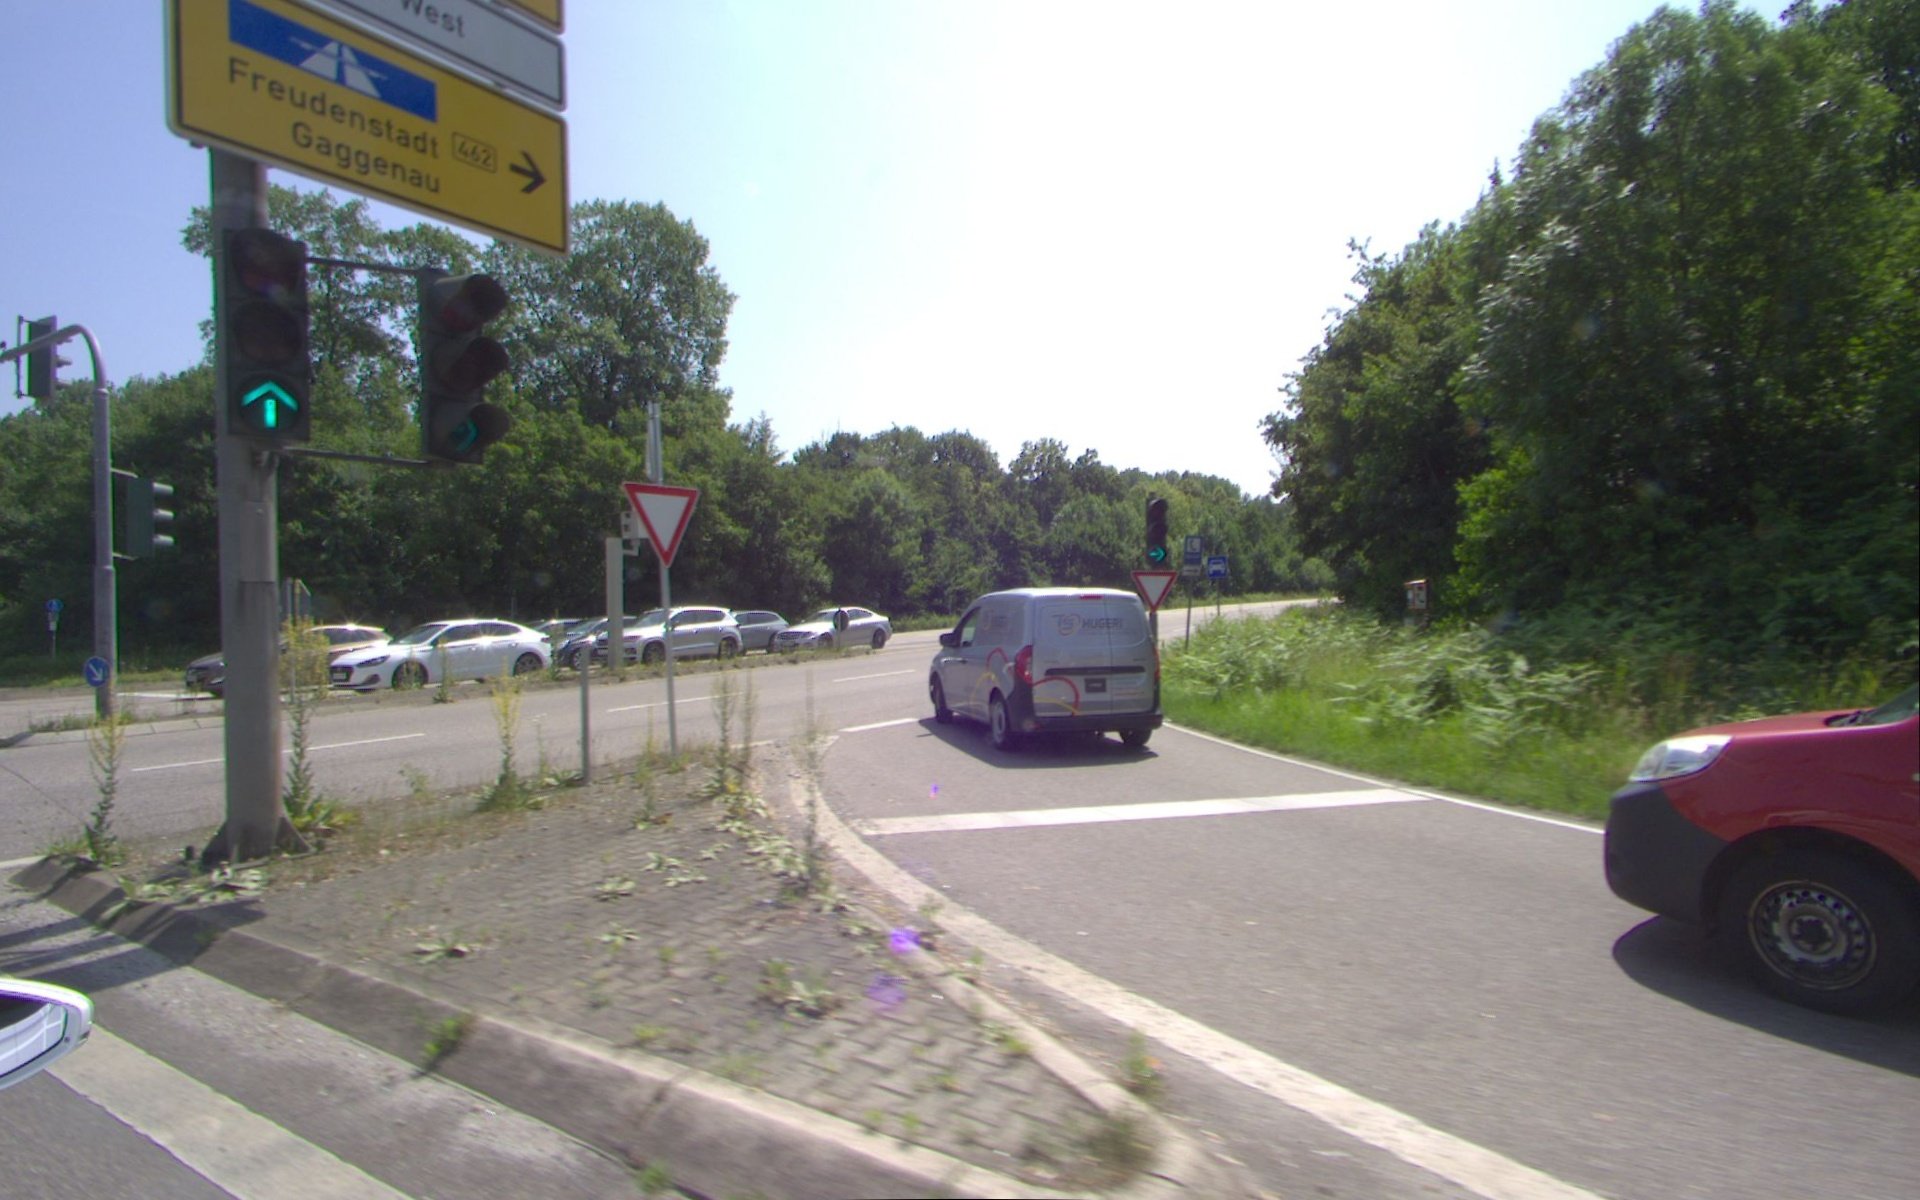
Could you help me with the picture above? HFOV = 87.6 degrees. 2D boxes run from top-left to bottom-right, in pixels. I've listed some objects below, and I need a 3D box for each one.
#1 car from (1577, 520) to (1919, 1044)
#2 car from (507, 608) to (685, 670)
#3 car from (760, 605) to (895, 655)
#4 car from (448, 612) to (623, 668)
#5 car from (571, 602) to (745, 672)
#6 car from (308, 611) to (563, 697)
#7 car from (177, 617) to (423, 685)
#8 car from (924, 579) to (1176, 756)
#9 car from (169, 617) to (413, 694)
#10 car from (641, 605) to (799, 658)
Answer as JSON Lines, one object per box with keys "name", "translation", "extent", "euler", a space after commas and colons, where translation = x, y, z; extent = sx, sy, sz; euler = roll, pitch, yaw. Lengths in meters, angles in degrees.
{"name": "car", "translation": [4.799, 0.639, 3.250], "extent": [1.778, 1.846, 4.458], "euler": [1, -2, -41]}
{"name": "car", "translation": [-10.257, 1.073, 28.569], "extent": [2.092, 1.555, 4.410], "euler": [-2, -1, 32]}
{"name": "car", "translation": [-4.190, 0.933, 32.307], "extent": [1.946, 1.433, 4.320], "euler": [-2, 0, 33]}
{"name": "car", "translation": [-13.032, 1.195, 31.022], "extent": [2.082, 1.518, 4.606], "euler": [-2, -1, 32]}
{"name": "car", "translation": [-7.915, 0.915, 26.616], "extent": [1.972, 1.681, 4.163], "euler": [-1, 0, 32]}
{"name": "car", "translation": [-10.960, 1.054, 21.248], "extent": [1.971, 1.555, 4.412], "euler": [-1, 0, 31]}
{"name": "car", "translation": [-16.789, 1.251, 25.754], "extent": [1.992, 1.518, 4.921], "euler": [-2, -1, 33]}
{"name": "car", "translation": [0.906, 0.736, 12.434], "extent": [1.731, 1.796, 4.106], "euler": [1, -1, -16]}
{"name": "car", "translation": [-14.764, 1.164, 22.327], "extent": [1.966, 1.466, 4.085], "euler": [-1, 0, 30]}
{"name": "car", "translation": [-7.925, 1.024, 33.610], "extent": [2.108, 1.554, 5.117], "euler": [-2, 0, 32]}
